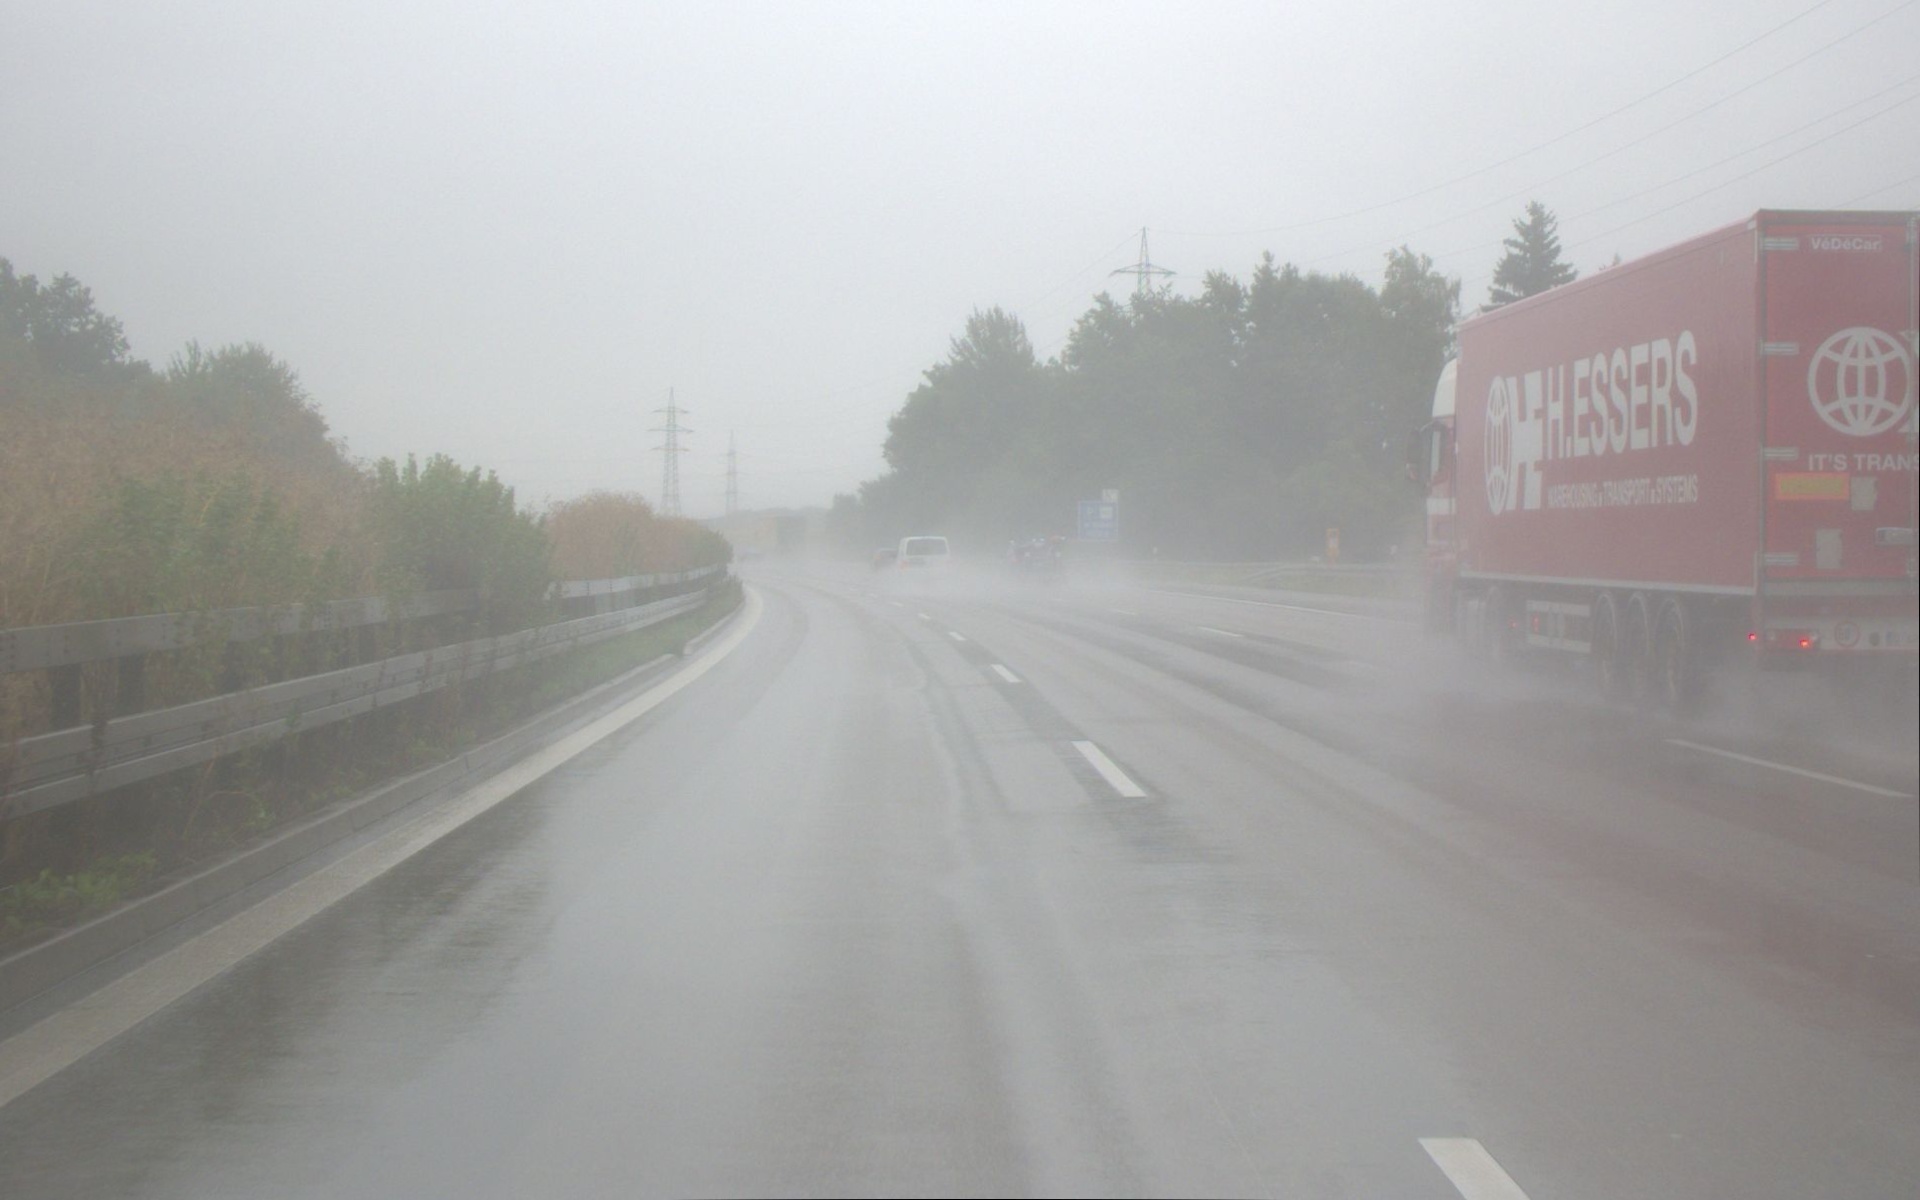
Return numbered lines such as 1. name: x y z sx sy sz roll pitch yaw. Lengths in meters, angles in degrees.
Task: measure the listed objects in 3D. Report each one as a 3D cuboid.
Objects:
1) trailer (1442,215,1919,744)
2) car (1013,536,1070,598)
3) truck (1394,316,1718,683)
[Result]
1. trailer: 7.062 -1.034 32.585 2.620 3.941 13.632 -1 1 -2
2. car: 2.889 -1.209 122.953 1.807 2.151 4.000 -1 1 -1
3. truck: 6.839 -1.141 40.159 2.620 3.942 5.433 -1 1 -2
